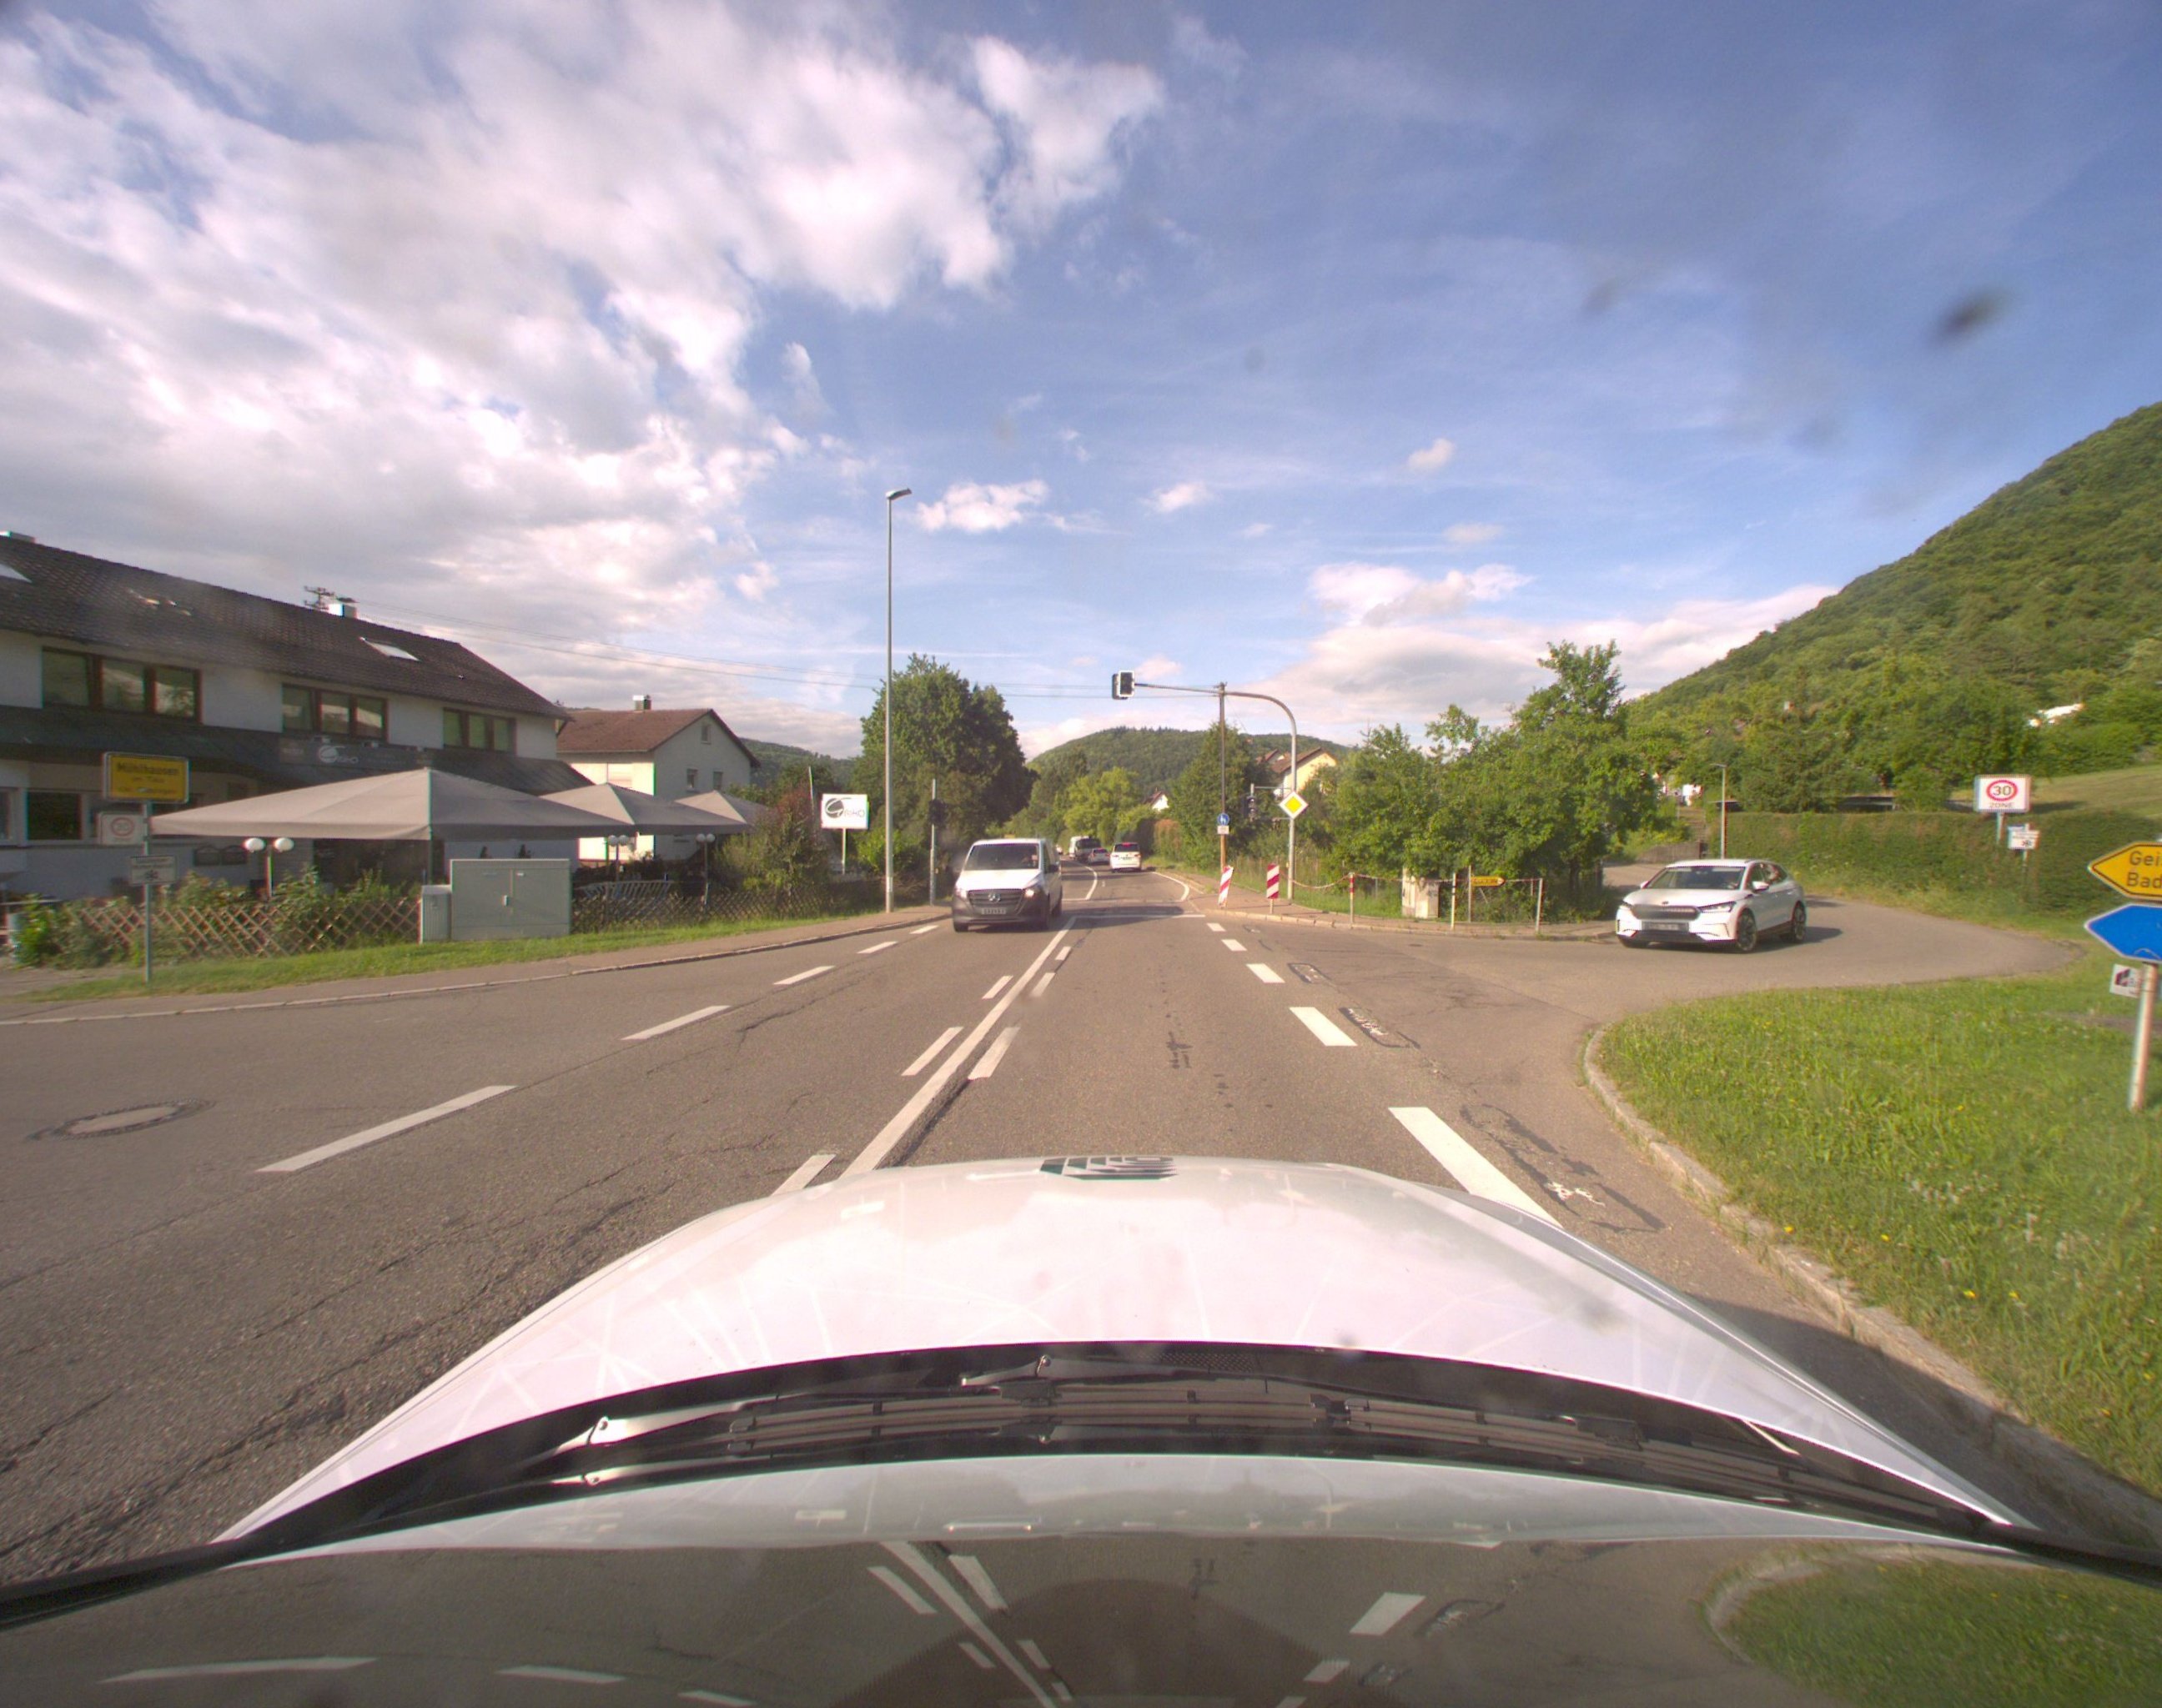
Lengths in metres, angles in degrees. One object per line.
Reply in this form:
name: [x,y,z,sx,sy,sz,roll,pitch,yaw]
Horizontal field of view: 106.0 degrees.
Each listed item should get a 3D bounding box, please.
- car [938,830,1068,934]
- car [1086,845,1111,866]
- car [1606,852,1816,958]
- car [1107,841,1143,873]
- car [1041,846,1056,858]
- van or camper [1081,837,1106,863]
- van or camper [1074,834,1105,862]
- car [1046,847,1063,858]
car: [-1.512,0.495,18.003,1.985,1.903,5.259,-2,1,4]
car: [1.467,0.089,70.658,1.987,1.684,3.999,-1,1,-1]
car: [11.759,0.810,15.100,4.592,1.610,1.853,-1,1,-36]
car: [2.803,0.142,53.014,1.988,1.876,4.869,1,1,-1]
car: [-4.991,-0.304,125.349,1.796,1.793,3.987,-1,1,-10]
van or camper: [1.201,-0.437,79.196,2.174,2.385,5.366,-1,1,-2]
van or camper: [0.872,-0.634,88.556,2.413,2.904,6.115,-1,1,-8]
car: [-3.816,-0.234,117.769,1.820,1.551,3.985,-2,2,-11]
